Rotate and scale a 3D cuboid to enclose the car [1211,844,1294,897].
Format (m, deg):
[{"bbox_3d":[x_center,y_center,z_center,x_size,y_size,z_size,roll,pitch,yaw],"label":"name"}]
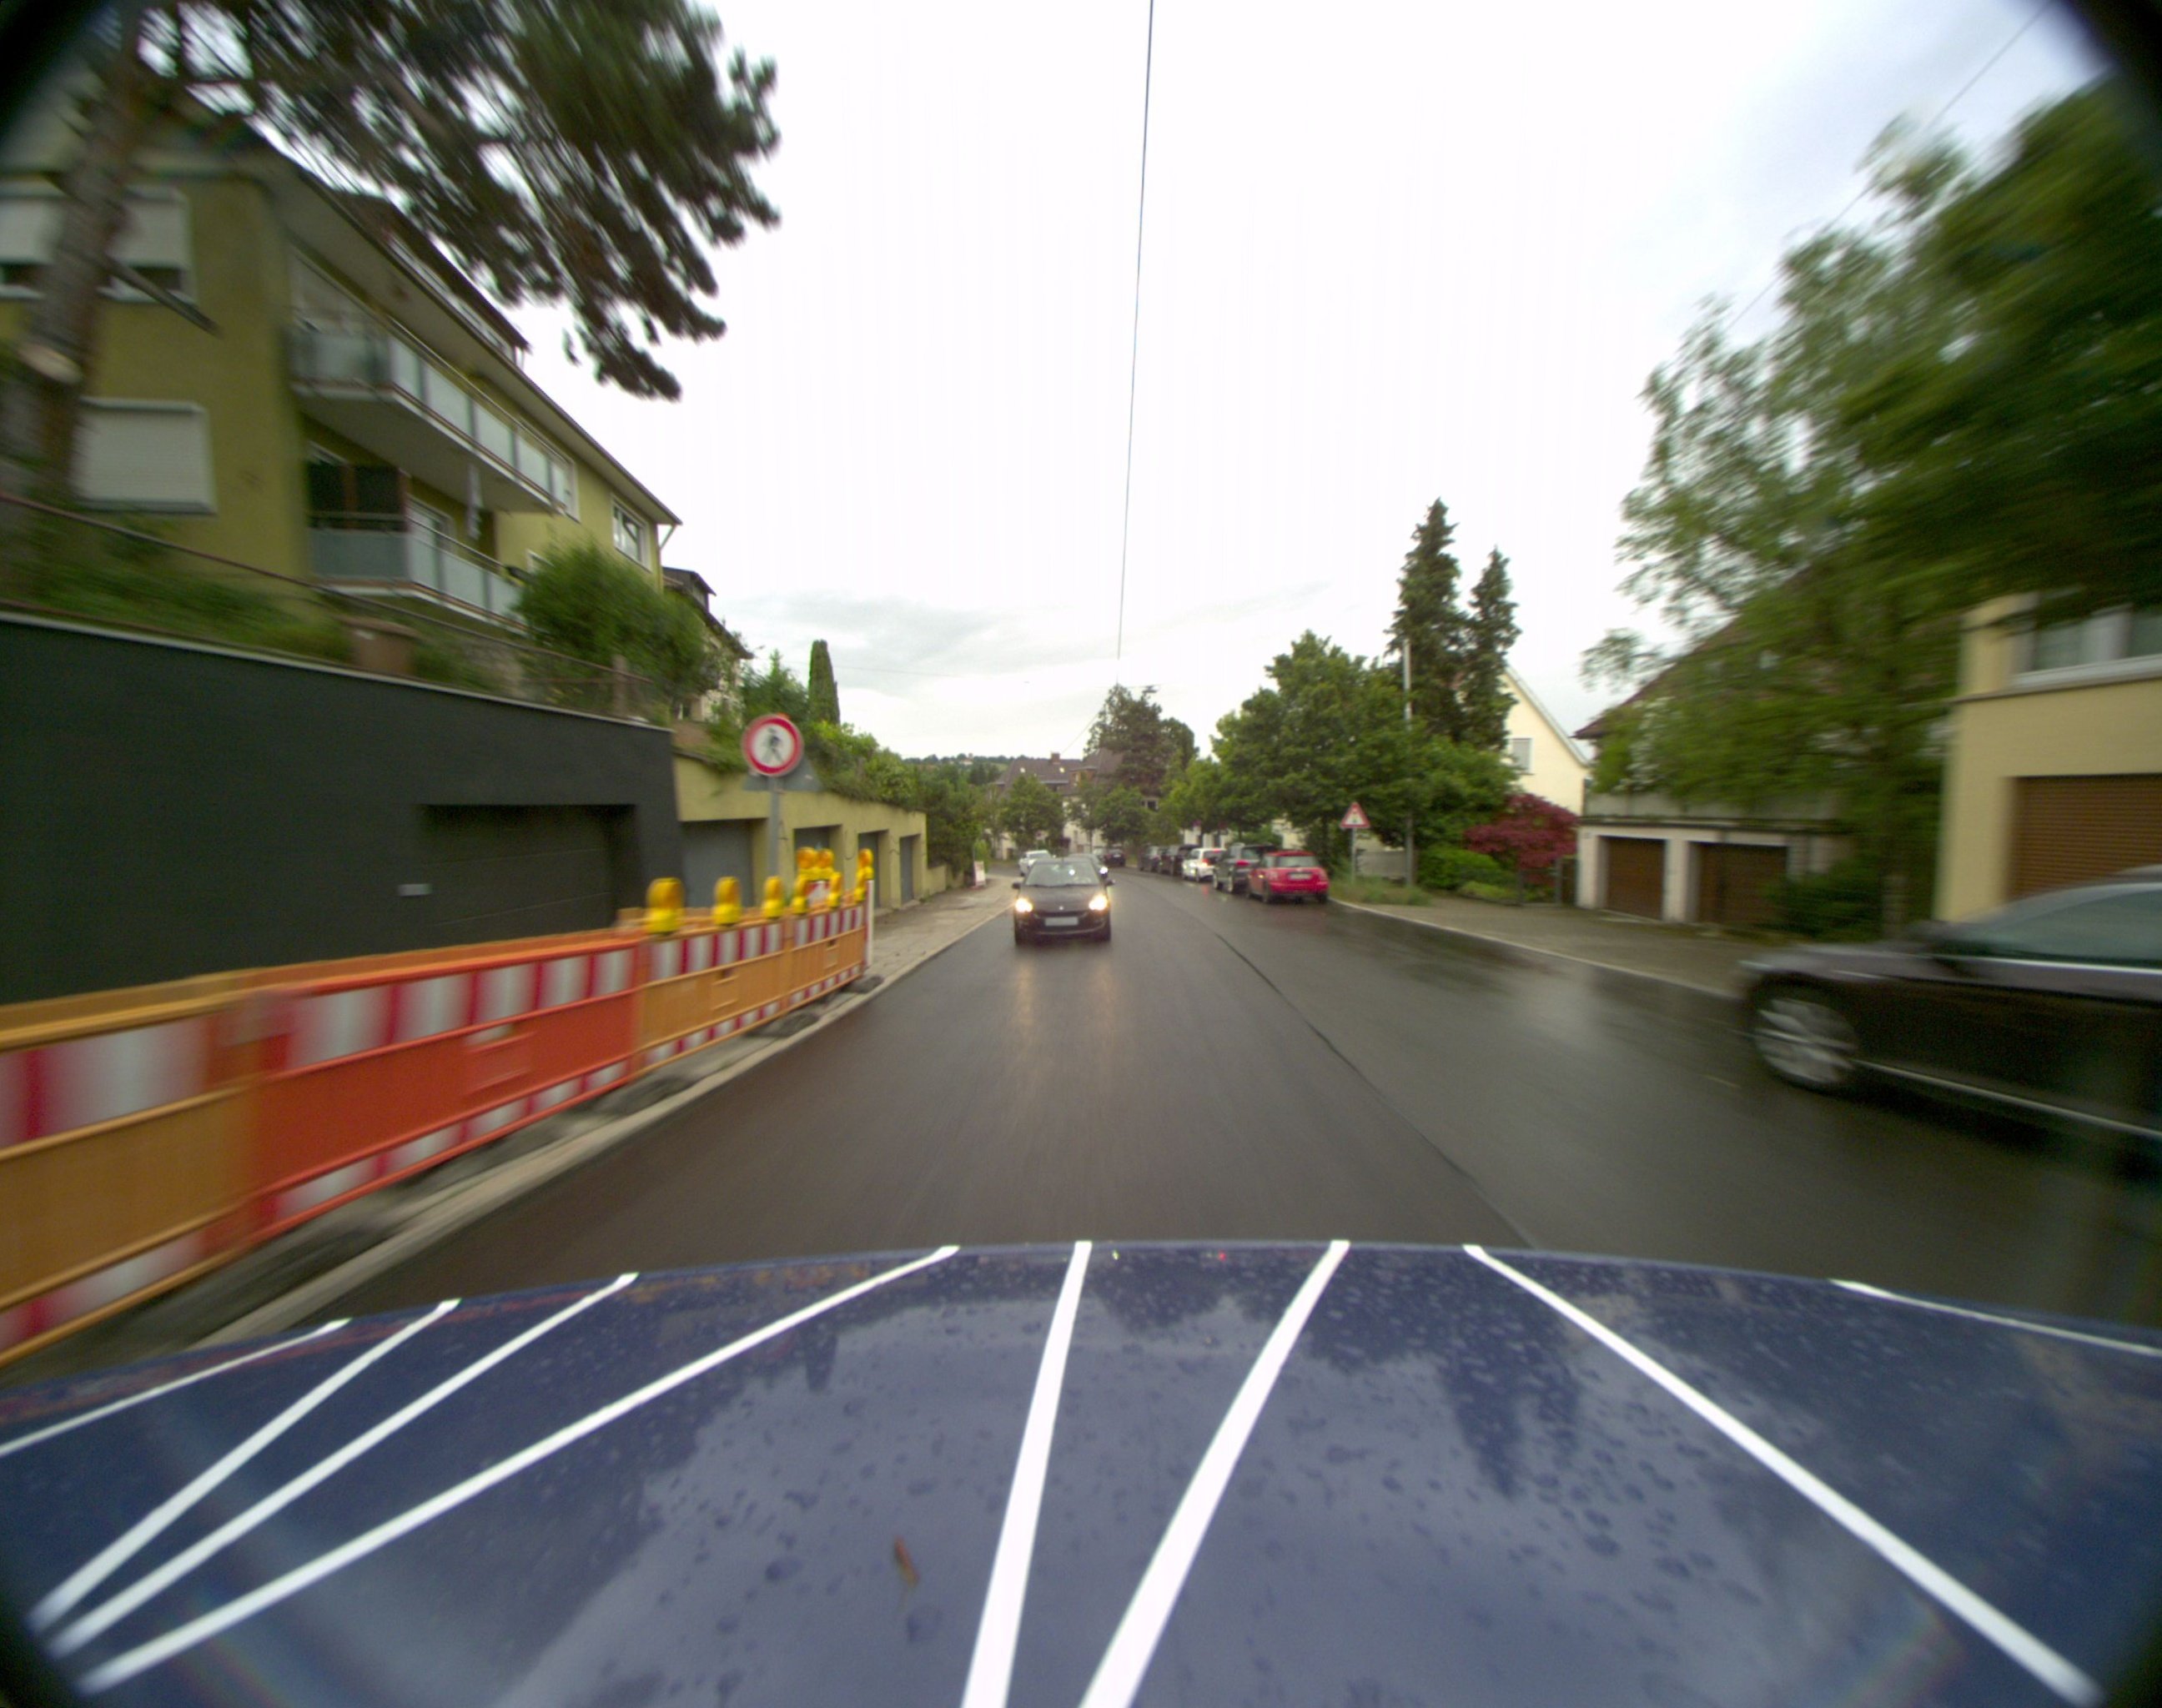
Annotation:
[{"bbox_3d":[5.864,0.494,26.453,1.805,1.659,4.424,-1,1,-1],"label":"car"}]

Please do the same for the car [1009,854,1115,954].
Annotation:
[{"bbox_3d":[-0.262,0.819,14.722,1.674,1.458,4.715,-2,1,1],"label":"car"}]

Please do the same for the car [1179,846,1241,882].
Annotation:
[{"bbox_3d":[5.820,0.386,34.674,1.738,1.458,3.997,-3,1,-5],"label":"car"}]

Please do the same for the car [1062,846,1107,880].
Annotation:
[{"bbox_3d":[0.106,0.391,36.171,1.843,1.395,4.069,-2,1,-3],"label":"car"}]

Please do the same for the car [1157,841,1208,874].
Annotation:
[{"bbox_3d":[5.353,0.130,40.498,1.738,1.537,4.207,-3,2,-5],"label":"car"}]

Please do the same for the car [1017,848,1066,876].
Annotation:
[{"bbox_3d":[-2.650,0.477,49.753,2.003,1.699,4.566,-2,1,-18],"label":"car"}]

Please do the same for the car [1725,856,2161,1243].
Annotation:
[{"bbox_3d":[5.228,0.809,2.861,1.772,1.526,4.605,1,1,2],"label":"car"}]

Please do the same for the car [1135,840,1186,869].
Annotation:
[{"bbox_3d":[4.692,-0.017,45.812,1.872,1.537,4.900,-3,2,-8],"label":"car"}]

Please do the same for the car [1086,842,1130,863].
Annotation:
[{"bbox_3d":[1.972,-0.125,56.514,1.677,1.458,3.886,-3,1,-25],"label":"car"}]

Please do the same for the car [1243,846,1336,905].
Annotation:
[{"bbox_3d":[5.871,0.544,21.811,1.686,1.463,3.864,-1,1,1],"label":"car"}]
